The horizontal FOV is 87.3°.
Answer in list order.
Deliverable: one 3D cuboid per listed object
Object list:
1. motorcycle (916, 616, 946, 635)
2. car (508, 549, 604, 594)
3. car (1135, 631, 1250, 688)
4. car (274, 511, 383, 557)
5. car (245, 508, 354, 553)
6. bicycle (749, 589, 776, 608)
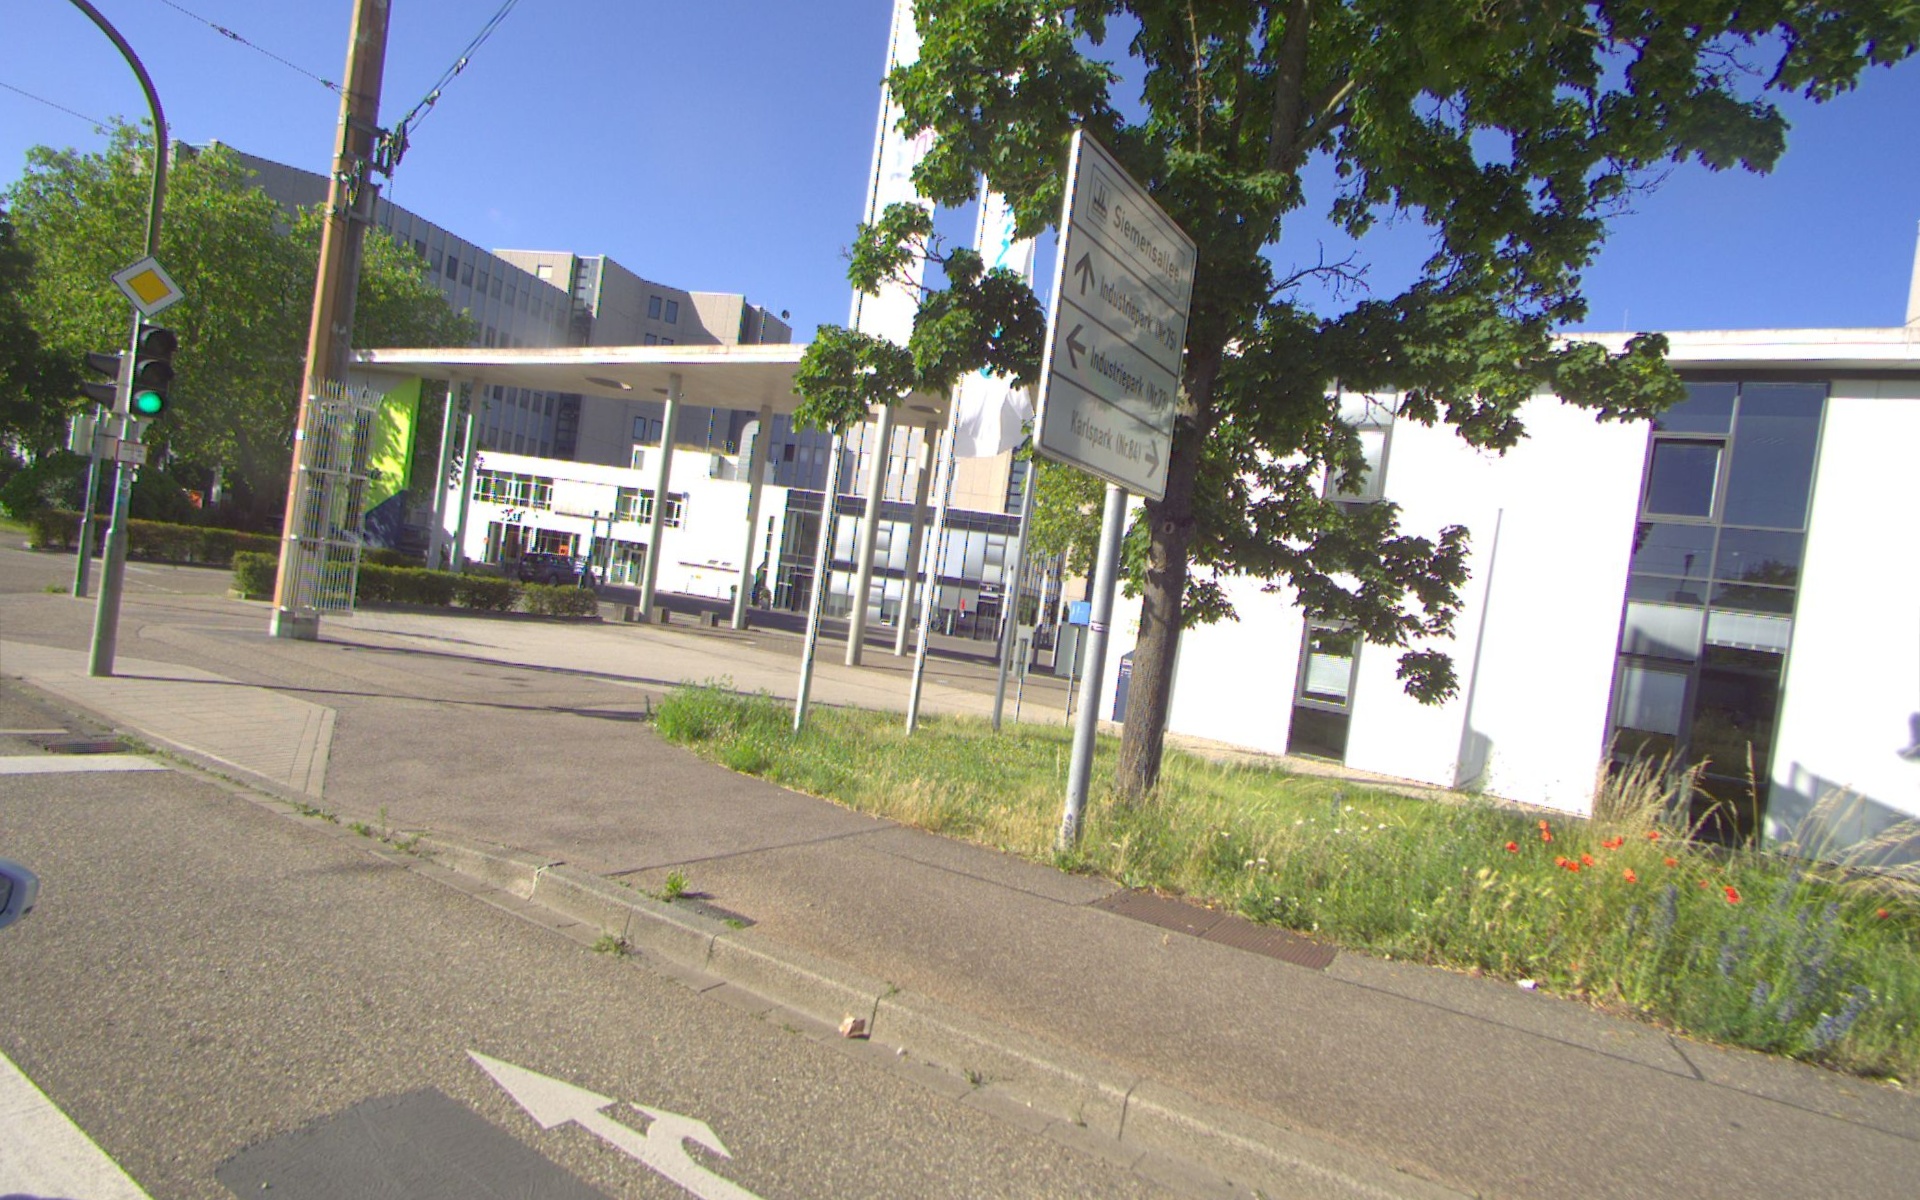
[{"bbox_3d":[-1.836,1.612,63.245,1.701,0.959,0.653,8,0,17],"label":"motorcycle"},{"bbox_3d":[-19.507,-1.355,48.769,1.918,1.597,4.000,7,-1,22],"label":"car"},{"bbox_3d":[10.175,2.568,44.069,4.635,1.819,1.779,8,1,15],"label":"car"},{"bbox_3d":[-33.246,-3.449,53.127,1.861,1.706,4.468,7,0,26],"label":"car"},{"bbox_3d":[-35.519,-3.694,54.222,1.861,1.706,4.468,7,0,26],"label":"car"},{"bbox_3d":[-13.145,-0.104,67.012,1.591,1.016,0.566,7,1,17],"label":"bicycle"}]
